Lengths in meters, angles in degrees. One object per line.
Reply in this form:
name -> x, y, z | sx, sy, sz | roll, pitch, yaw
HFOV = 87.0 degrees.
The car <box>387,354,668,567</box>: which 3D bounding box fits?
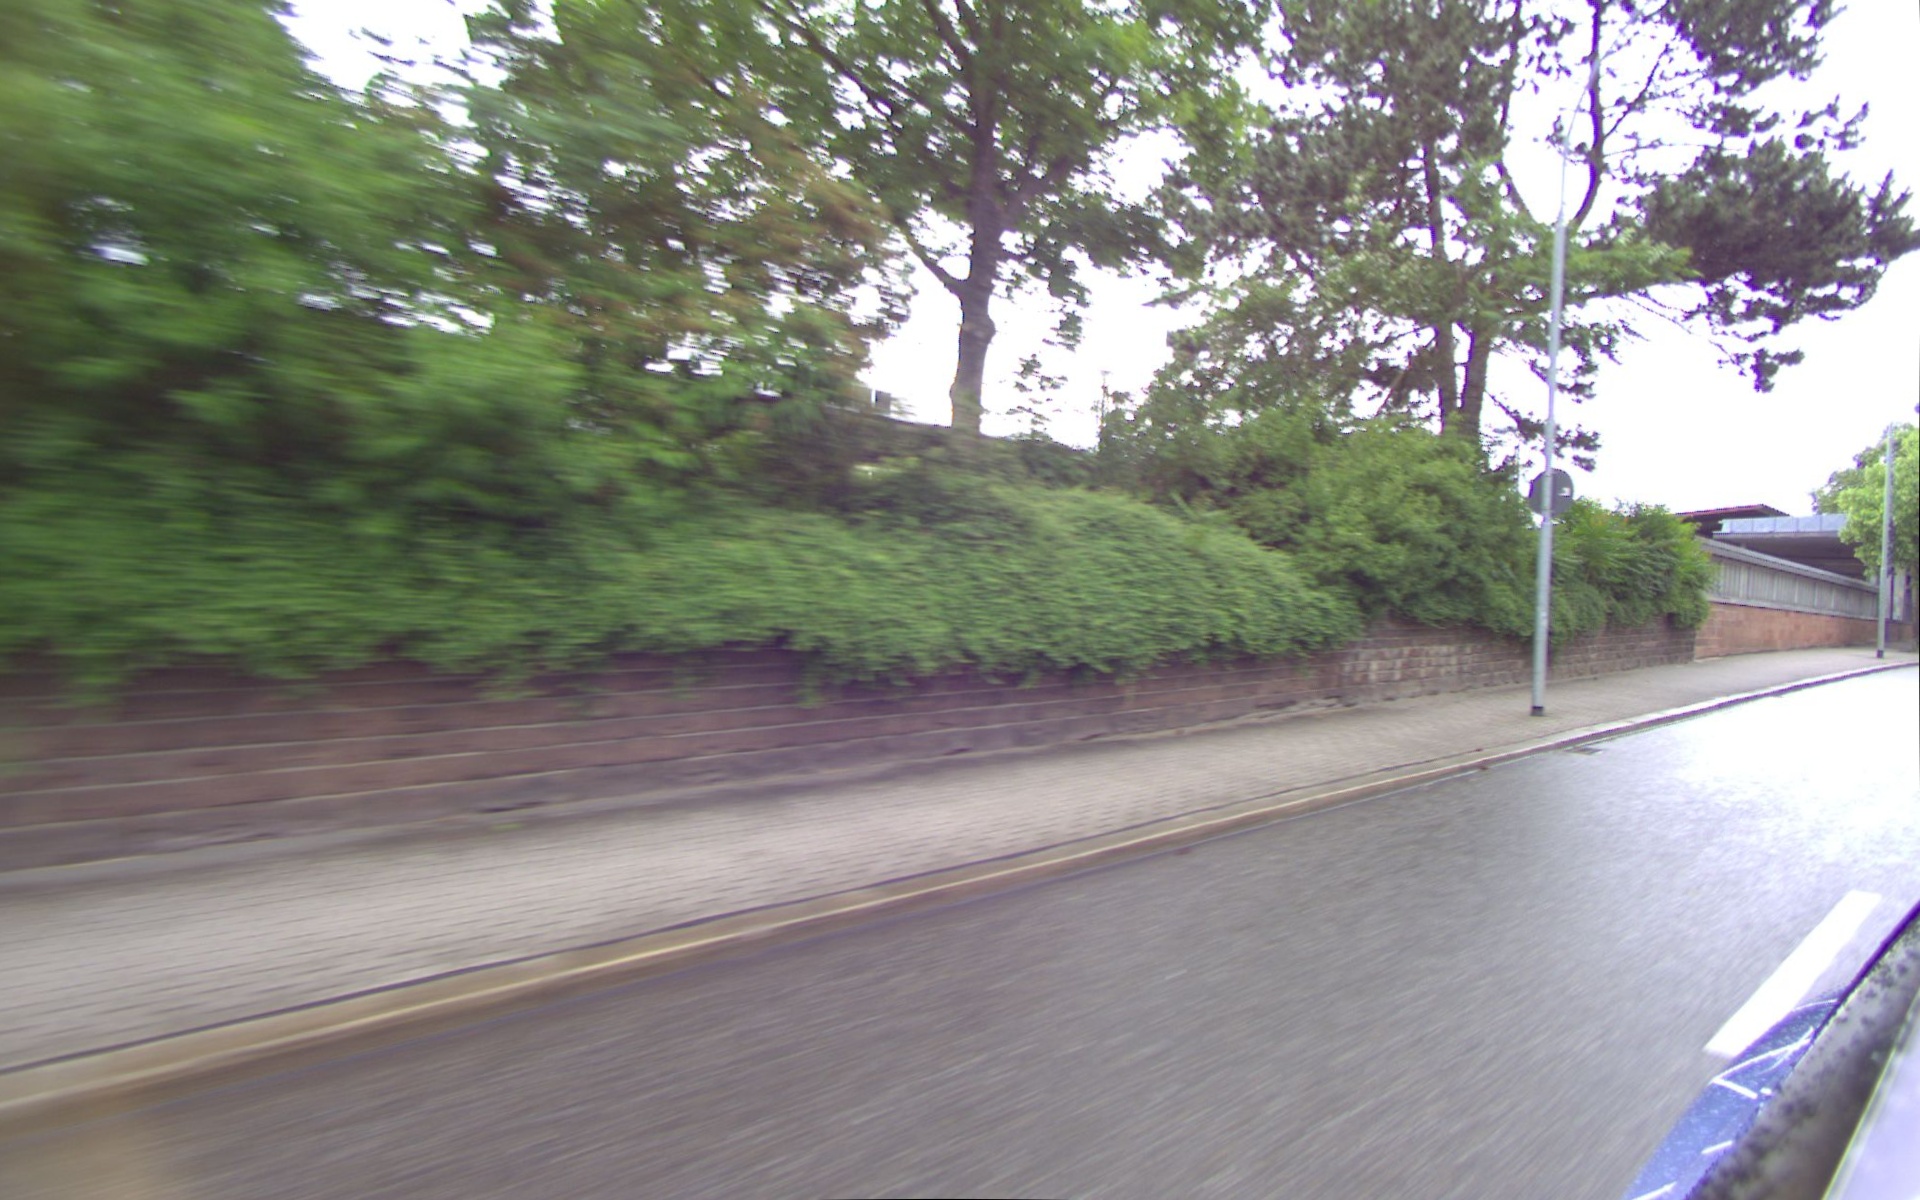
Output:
car -> -5.413, -1.625, 13.321 | 1.962, 2.247, 4.001 | 3, 1, -1
